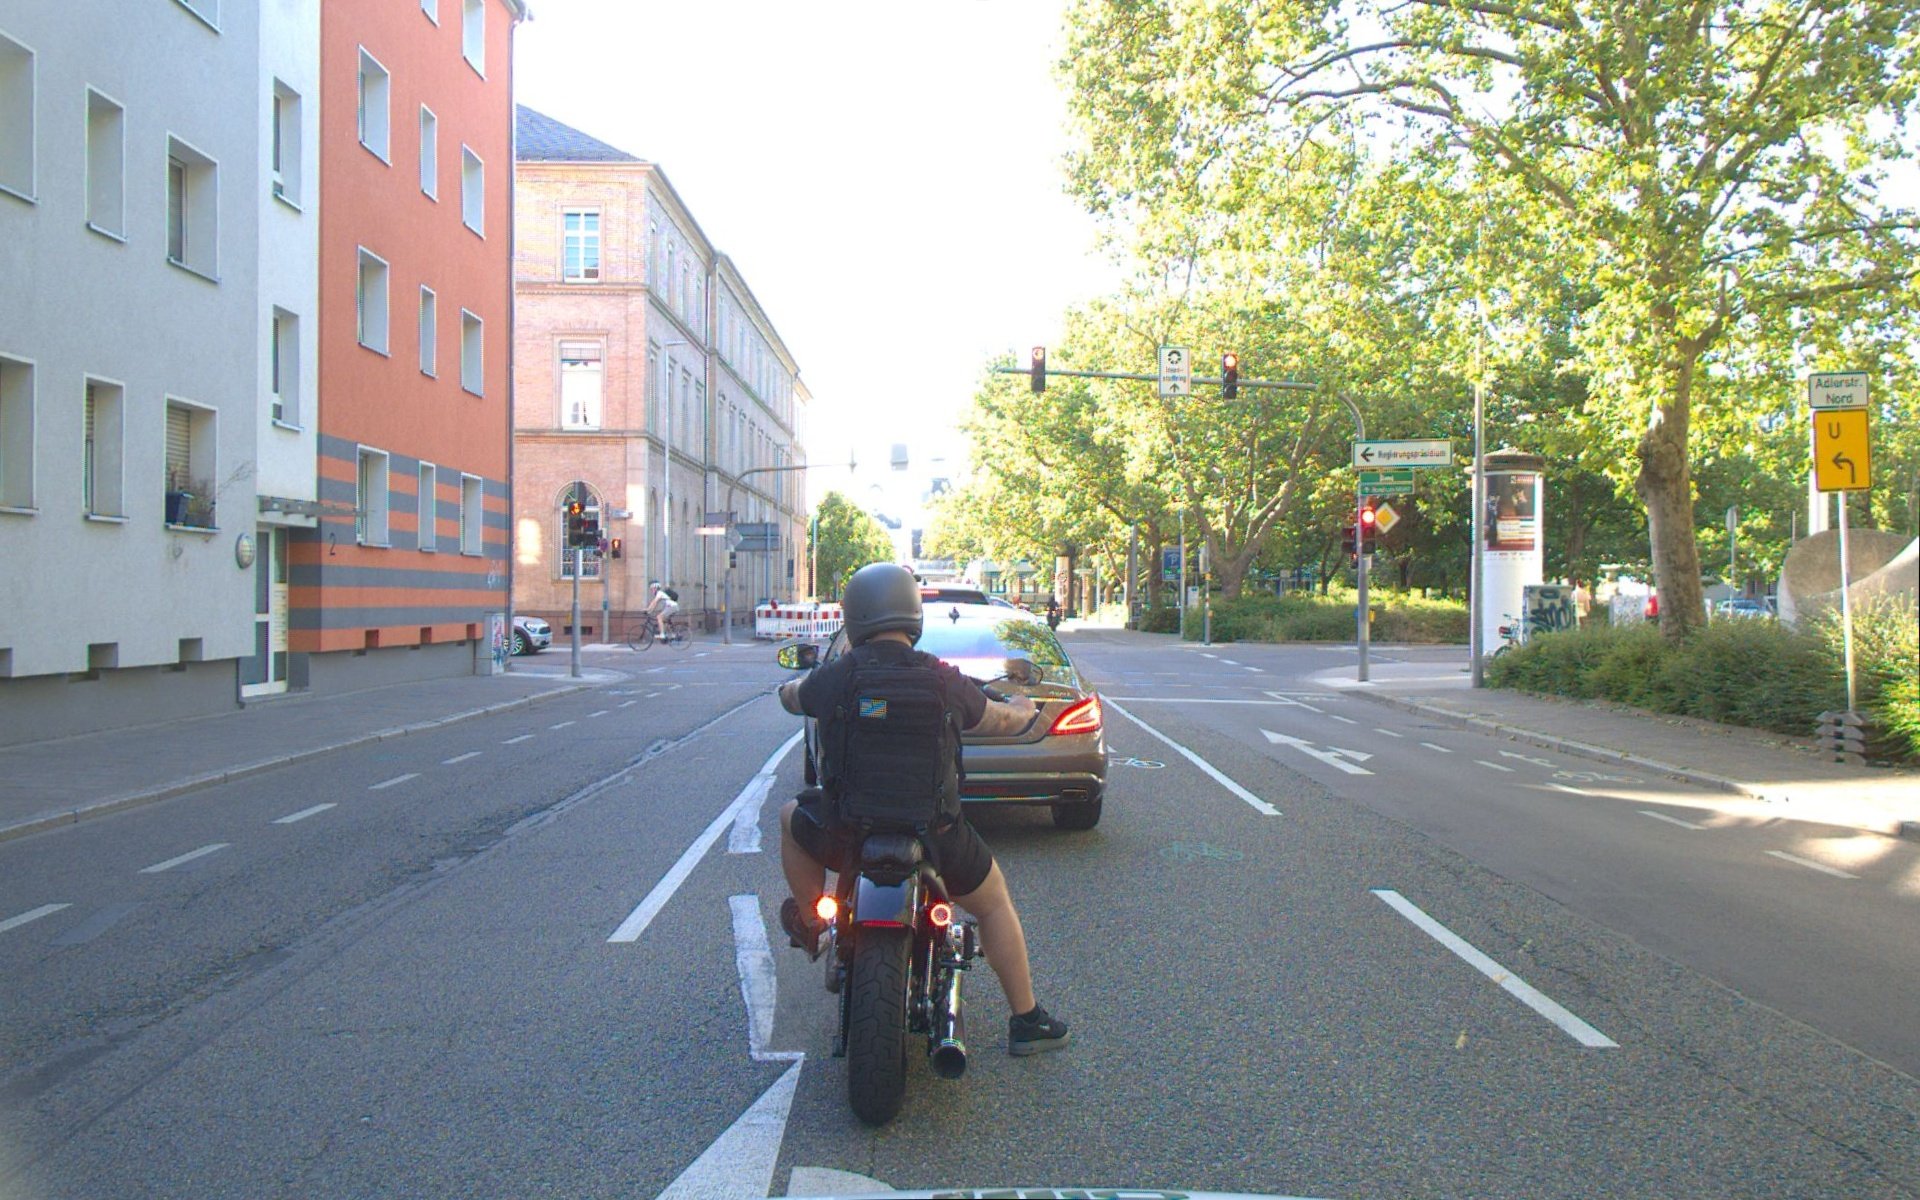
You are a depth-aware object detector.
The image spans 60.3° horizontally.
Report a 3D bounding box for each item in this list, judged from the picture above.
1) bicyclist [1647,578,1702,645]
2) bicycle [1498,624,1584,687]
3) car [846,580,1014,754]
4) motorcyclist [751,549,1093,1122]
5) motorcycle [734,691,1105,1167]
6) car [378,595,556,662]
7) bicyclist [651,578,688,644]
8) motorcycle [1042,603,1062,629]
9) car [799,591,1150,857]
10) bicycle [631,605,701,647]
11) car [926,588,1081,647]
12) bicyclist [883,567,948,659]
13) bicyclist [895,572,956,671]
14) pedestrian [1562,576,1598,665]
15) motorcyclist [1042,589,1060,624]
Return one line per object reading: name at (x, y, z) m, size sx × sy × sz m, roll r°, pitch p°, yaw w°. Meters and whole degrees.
bicyclist at (18.075, 0.276, 41.846) m, size 1.017 × 1.642 × 0.767 m, roll 0°, pitch 3°, yaw 0°
bicycle at (9.747, 0.924, 27.762) m, size 1.324 × 1.041 × 0.363 m, roll 0°, pitch 0°, yaw 0°
car at (-0.338, 0.622, 17.765) m, size 1.580 × 1.636 × 4.327 m, roll 0°, pitch 0°, yaw -2°
motorcyclist at (-0.117, 0.666, 5.407) m, size 0.969 × 1.625 × 1.403 m, roll 0°, pitch 0°, yaw -1°
motorcycle at (-0.121, 0.929, 5.562) m, size 0.969 × 1.097 × 2.451 m, roll 0°, pitch 0°, yaw -1°
car at (-11.906, 0.674, 40.156) m, size 3.820 × 1.506 × 1.825 m, roll -1°, pitch 0°, yaw -6°
bicyclist at (-7.874, 0.286, 44.859) m, size 0.956 × 1.773 × 0.609 m, roll 0°, pitch 0°, yaw -6°
motorcycle at (4.544, 0.773, 82.124) m, size 0.821 × 1.267 × 2.283 m, roll 0°, pitch 0°, yaw -1°
car at (-0.117, 0.687, 11.602) m, size 1.909 × 1.498 × 4.355 m, roll 0°, pitch 0°, yaw -7°
bicycle at (-7.964, 0.714, 44.851) m, size 1.798 × 1.124 × 0.611 m, roll 0°, pitch 0°, yaw -6°
car at (1.185, 0.485, 44.378) m, size 3.866 × 1.512 × 1.837 m, roll 1°, pitch 0°, yaw -37°
bicyclist at (-0.851, 0.244, 31.658) m, size 1.029 × 1.724 × 0.701 m, roll -1°, pitch -1°, yaw 42°
bicyclist at (-0.618, 0.366, 29.275) m, size 0.696 × 1.722 × 0.954 m, roll 0°, pitch 0°, yaw -33°
pedestrian at (13.223, 0.424, 35.275) m, size 0.540 × 1.881 × 0.593 m, roll 0°, pitch 0°, yaw 0°
motorcyclist at (4.534, 0.338, 82.146) m, size 0.821 × 1.732 × 1.180 m, roll 0°, pitch 0°, yaw -1°
